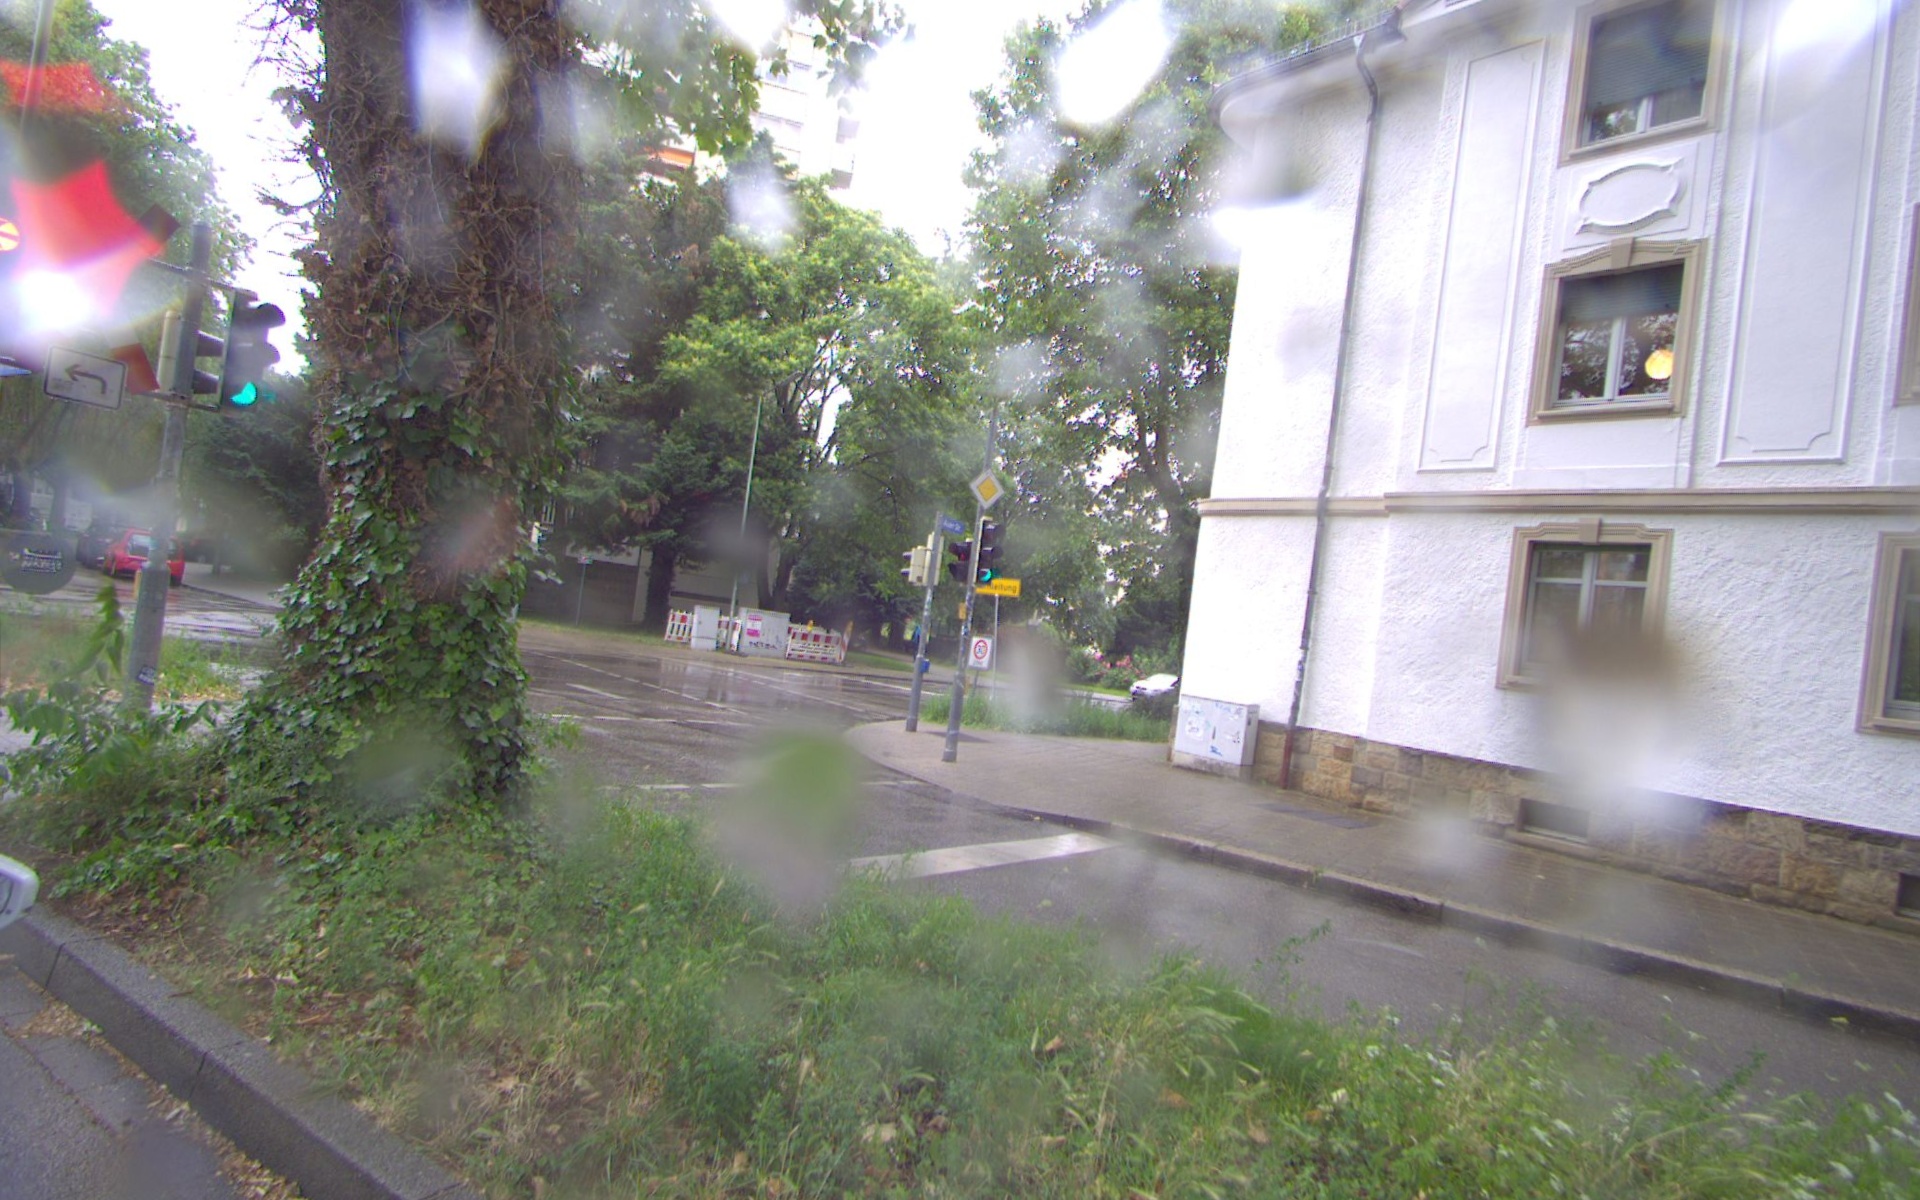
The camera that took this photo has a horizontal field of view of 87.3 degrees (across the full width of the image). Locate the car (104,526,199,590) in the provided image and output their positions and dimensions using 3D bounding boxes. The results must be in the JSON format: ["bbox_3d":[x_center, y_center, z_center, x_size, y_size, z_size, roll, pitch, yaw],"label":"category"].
[{"bbox_3d":[-24.830,-1.310,30.844,1.788,1.515,3.950,10,-2,-44],"label":"car"}]

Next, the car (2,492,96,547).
[{"bbox_3d":[-61.111,-5.397,67.532,4.680,2.982,2.043,7,-1,12],"label":"car"}]

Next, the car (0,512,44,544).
[{"bbox_3d":[-56.204,-4.382,58.628,1.974,1.565,3.980,6,-3,44],"label":"car"}]

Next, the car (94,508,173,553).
[{"bbox_3d":[-69.649,-5.850,84.813,4.683,2.982,2.001,7,-1,1],"label":"car"}]

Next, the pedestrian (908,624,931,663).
[{"bbox_3d":[-2.081,2.230,51.477,0.675,1.863,0.707,8,-1,-44],"label":"pedestrian"}]

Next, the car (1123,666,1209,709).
[{"bbox_3d":[9.411,3.999,45.808,1.829,1.473,3.979,6,-3,45],"label":"car"}]

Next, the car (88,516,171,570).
[{"bbox_3d":[-28.097,-1.939,34.001,1.780,1.363,3.879,10,-2,-44],"label":"car"}]

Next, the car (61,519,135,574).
[{"bbox_3d":[-32.982,-2.081,38.455,1.779,1.747,3.951,9,-2,-44],"label":"car"}]
